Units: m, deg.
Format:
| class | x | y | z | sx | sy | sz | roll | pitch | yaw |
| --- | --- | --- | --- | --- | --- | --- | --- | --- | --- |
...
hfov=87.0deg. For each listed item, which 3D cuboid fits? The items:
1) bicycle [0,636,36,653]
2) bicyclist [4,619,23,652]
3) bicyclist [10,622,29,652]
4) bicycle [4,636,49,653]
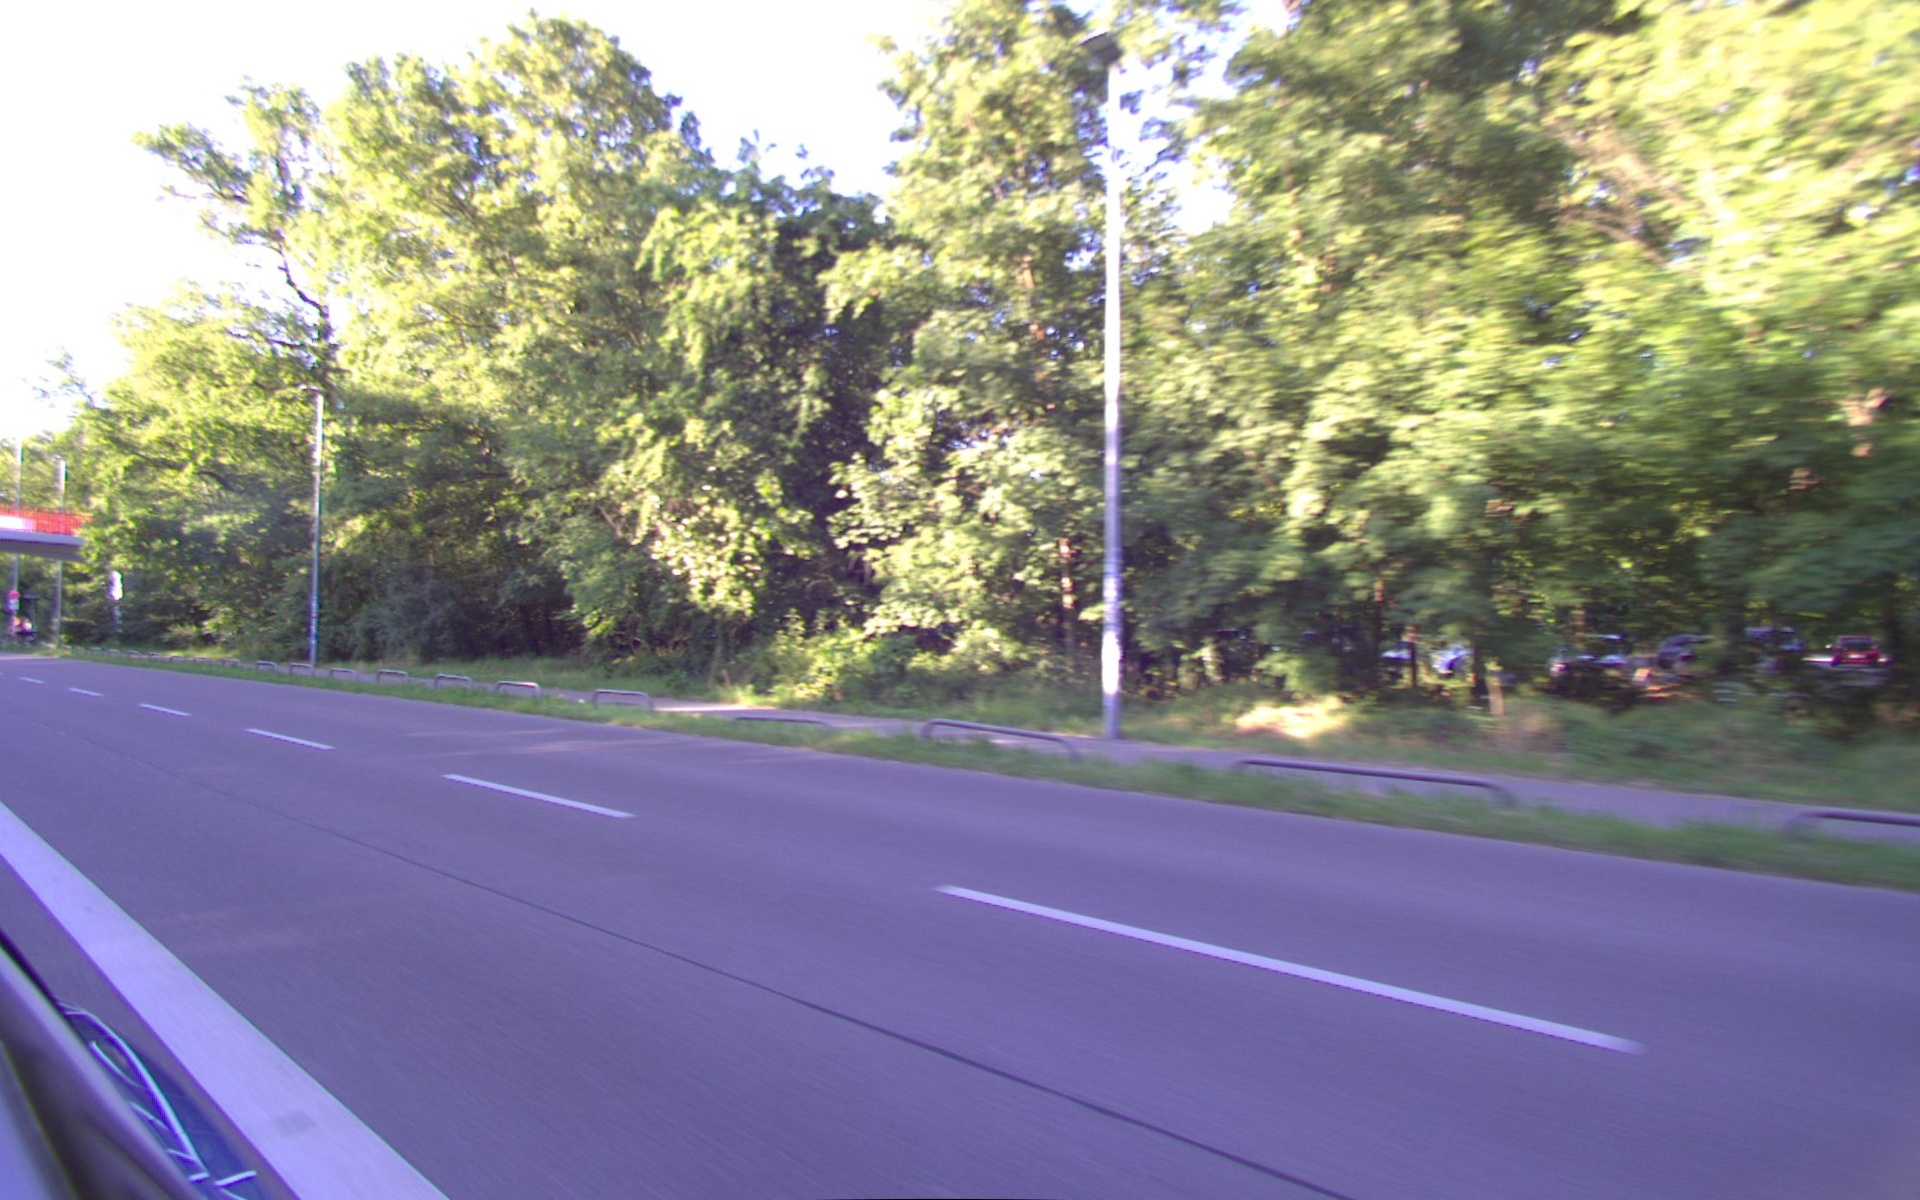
| class | x | y | z | sx | sy | sz | roll | pitch | yaw |
| --- | --- | --- | --- | --- | --- | --- | --- | --- | --- |
| bicycle | -55.872 | 2.621 | 59.769 | 1.904 | 0.941 | 0.825 | 2 | -3 | -44 |
| bicyclist | -55.897 | 2.097 | 59.751 | 0.786 | 1.915 | 0.818 | 1 | -2 | -44 |
| bicyclist | -54.828 | 2.165 | 59.000 | 0.786 | 1.710 | 0.946 | 1 | -2 | -44 |
| bicycle | -54.587 | 2.593 | 59.201 | 1.904 | 0.941 | 0.825 | 1 | -2 | -44 |
